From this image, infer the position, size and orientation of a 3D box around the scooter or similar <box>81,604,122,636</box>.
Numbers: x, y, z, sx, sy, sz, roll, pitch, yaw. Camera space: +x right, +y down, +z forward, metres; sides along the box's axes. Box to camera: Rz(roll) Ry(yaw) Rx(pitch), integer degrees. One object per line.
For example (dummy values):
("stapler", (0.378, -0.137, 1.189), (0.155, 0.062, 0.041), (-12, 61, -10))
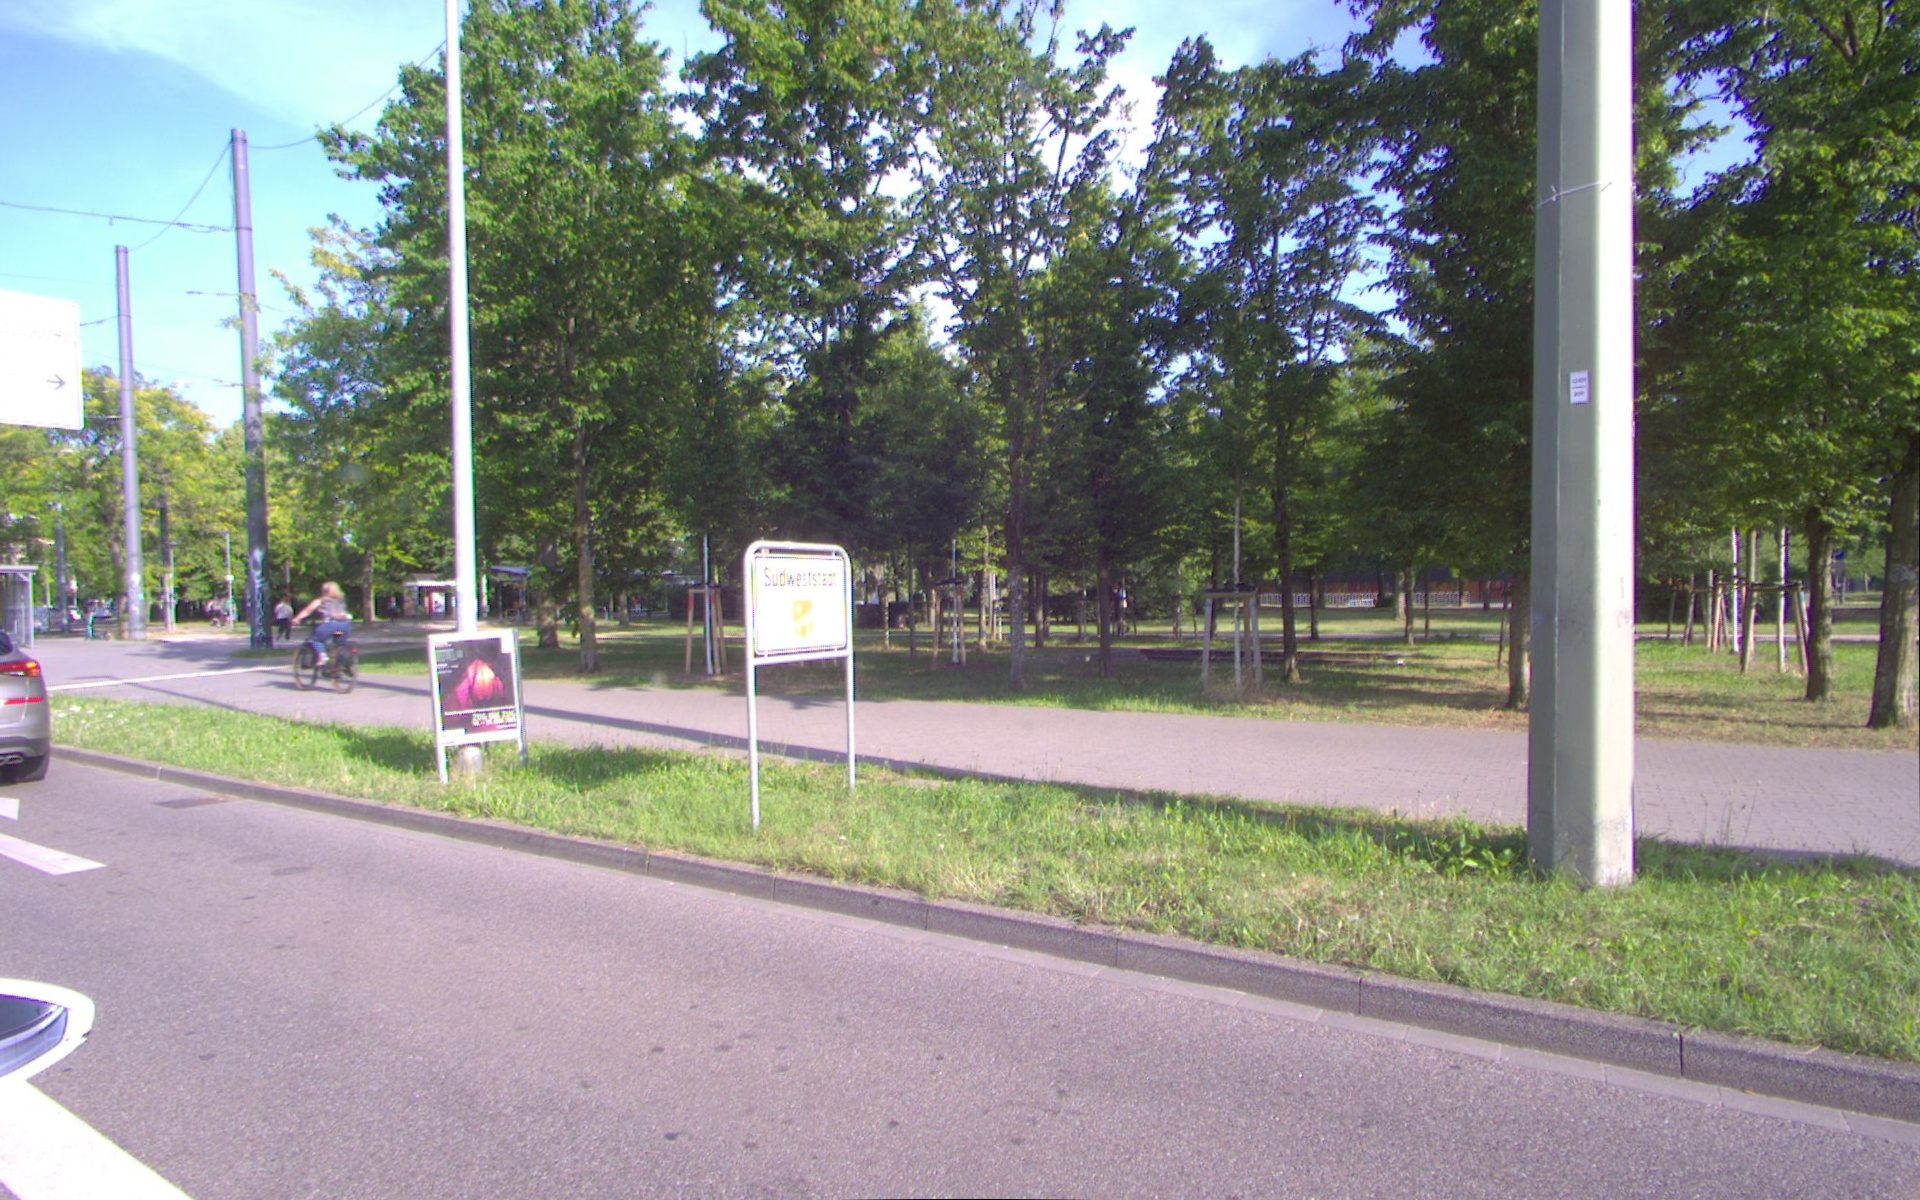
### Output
("scooter or similar", (-31.583, 0.731, 36.856), (1.305, 1.132, 0.420), (-1, 1, 13))

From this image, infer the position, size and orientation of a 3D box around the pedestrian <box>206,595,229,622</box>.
("pedestrian", (-41.059, 0.459, 55.409), (0.687, 1.508, 0.815), (-1, 1, -9))

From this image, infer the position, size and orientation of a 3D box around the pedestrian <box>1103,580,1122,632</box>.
("pedestrian", (5.376, 0.206, 35.260), (0.617, 1.836, 0.502), (-1, 1, 6))

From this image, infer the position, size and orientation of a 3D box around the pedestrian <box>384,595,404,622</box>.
("pedestrian", (-34.900, 0.507, 61.717), (0.792, 1.659, 0.832), (0, 1, 38))

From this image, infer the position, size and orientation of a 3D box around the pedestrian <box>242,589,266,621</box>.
("pedestrian", (-40.280, 0.292, 57.123), (0.826, 1.809, 0.798), (0, 1, 28))

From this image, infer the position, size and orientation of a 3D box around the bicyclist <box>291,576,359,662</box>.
("bicyclist", (-9.697, 0.284, 15.284), (0.856, 1.279, 0.533), (0, 1, 32))

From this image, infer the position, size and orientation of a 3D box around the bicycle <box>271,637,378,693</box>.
("bicycle", (-9.759, 0.970, 15.347), (2.138, 0.767, 0.494), (-1, 2, 33))

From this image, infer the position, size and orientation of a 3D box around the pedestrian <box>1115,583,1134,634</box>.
("pedestrian", (5.913, 0.299, 36.017), (0.617, 1.836, 0.502), (-1, 1, 3))

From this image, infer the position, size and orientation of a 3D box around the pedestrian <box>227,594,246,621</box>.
("pedestrian", (-40.019, 0.404, 55.392), (0.804, 1.508, 0.696), (-2, 1, -33))

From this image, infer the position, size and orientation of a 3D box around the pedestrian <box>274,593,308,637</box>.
("pedestrian", (-25.683, 0.579, 38.435), (0.793, 1.659, 0.754), (-1, 1, -7))

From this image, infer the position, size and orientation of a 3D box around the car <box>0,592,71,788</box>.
("car", (-10.004, 0.796, 9.142), (3.595, 1.673, 1.880), (-1, 1, 32))

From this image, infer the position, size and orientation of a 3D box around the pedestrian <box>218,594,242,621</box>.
("pedestrian", (-41.123, 0.414, 56.436), (0.688, 1.508, 0.813), (0, 1, 22))
